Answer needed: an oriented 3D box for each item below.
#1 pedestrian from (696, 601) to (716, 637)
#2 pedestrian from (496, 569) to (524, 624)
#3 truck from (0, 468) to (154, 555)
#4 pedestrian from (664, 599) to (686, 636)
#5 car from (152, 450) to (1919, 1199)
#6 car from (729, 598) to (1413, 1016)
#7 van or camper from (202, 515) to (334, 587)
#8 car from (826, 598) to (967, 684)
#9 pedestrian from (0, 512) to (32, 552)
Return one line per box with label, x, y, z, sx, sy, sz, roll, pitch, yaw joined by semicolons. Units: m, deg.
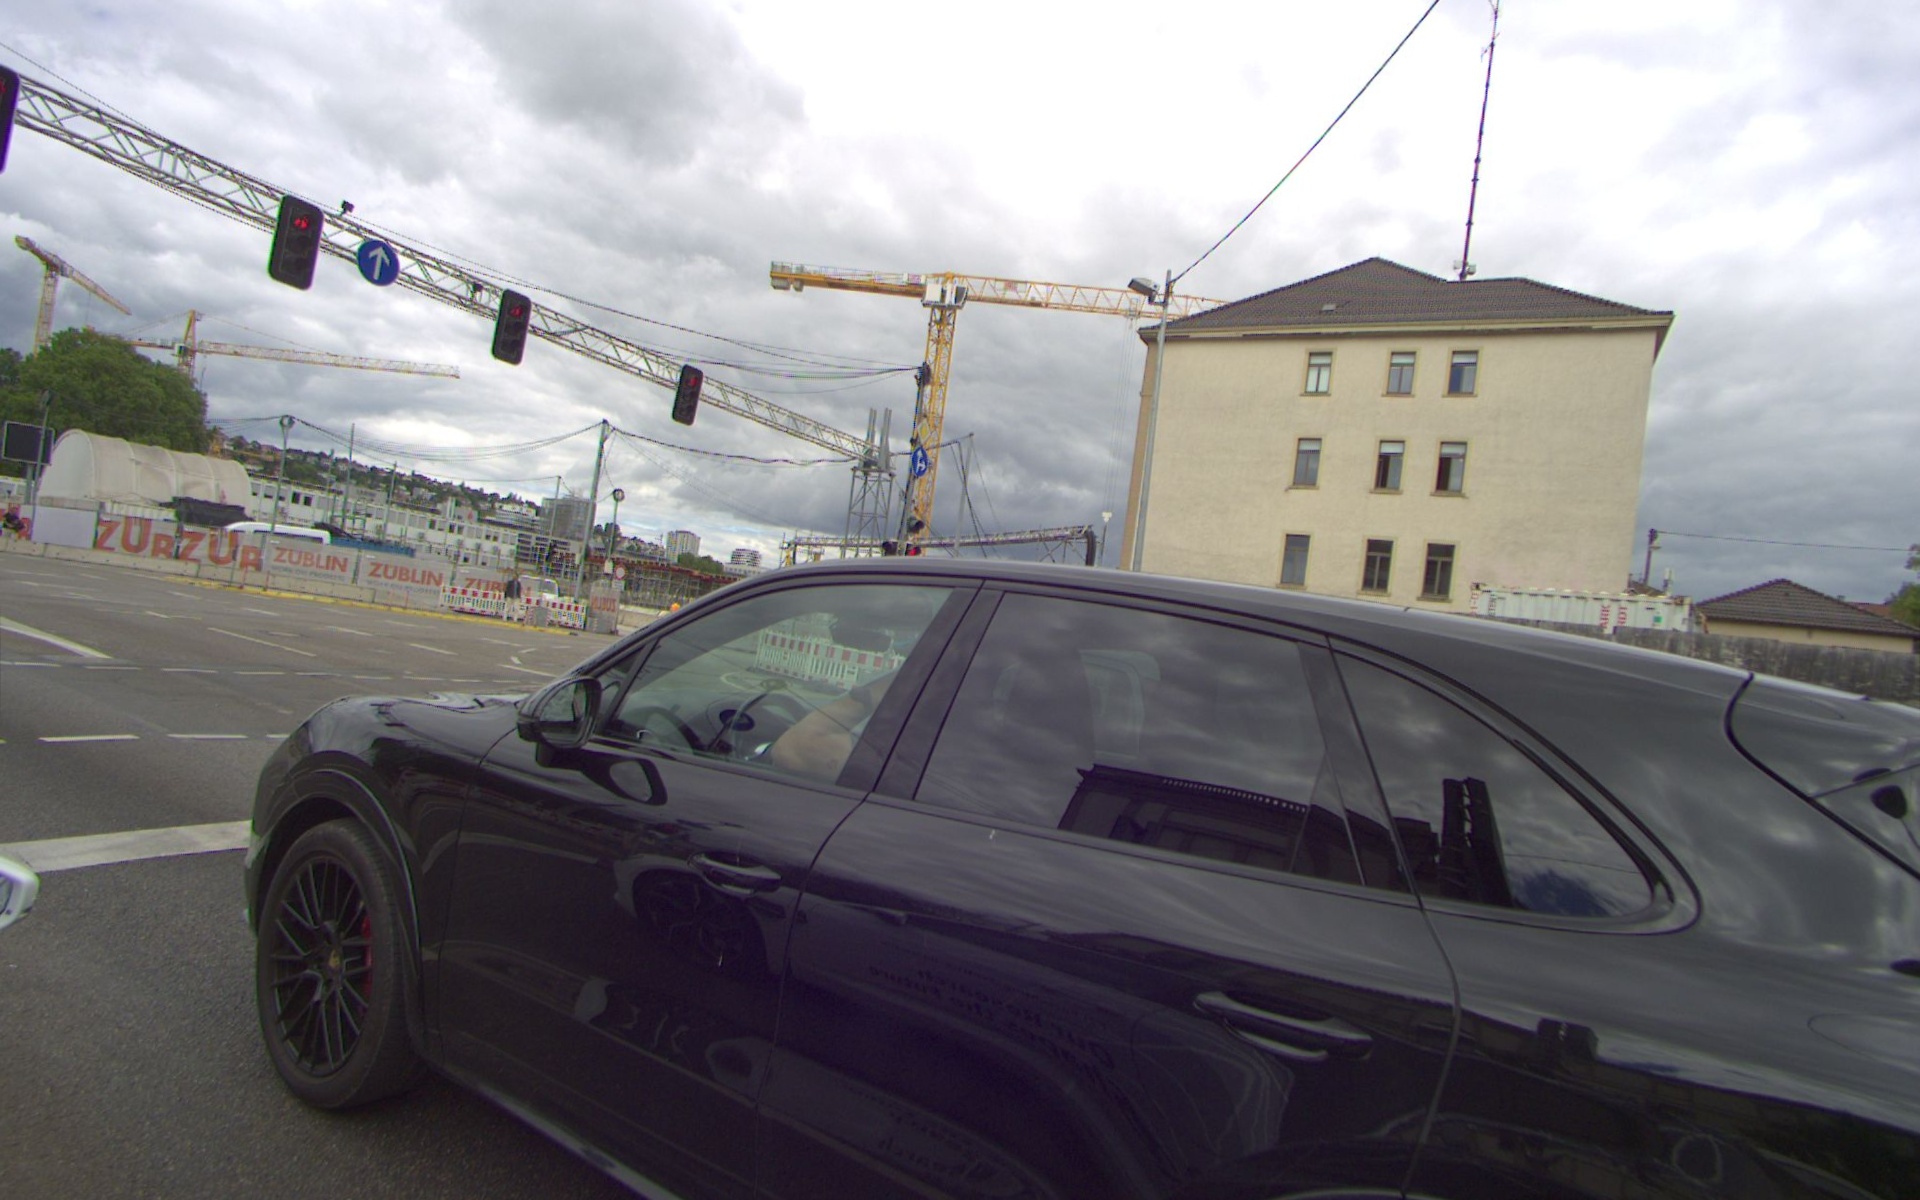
pedestrian;-12.761;0.952;50.554;0.508;1.737;0.654;7;-1;21
pedestrian;-17.415;-0.135;38.936;0.647;2.037;0.513;8;-1;-33
truck;-57.898;-5.792;61.930;3.875;4.086;13.089;8;-2;12
pedestrian;-15.005;0.930;52.969;0.607;1.816;0.654;7;-1;23
car;0.038;0.716;2.697;4.559;1.705;1.959;7;-2;33
car;0.594;1.044;6.373;3.818;1.561;1.667;7;-2;33
van or camper;-29.810;-2.071;43.412;4.204;2.384;1.976;10;-3;-44
car;-2.291;1.677;38.729;2.030;2.623;6.007;7;-3;32
pedestrian;-36.927;-2.646;39.075;0.887;1.393;0.800;8;-1;14
